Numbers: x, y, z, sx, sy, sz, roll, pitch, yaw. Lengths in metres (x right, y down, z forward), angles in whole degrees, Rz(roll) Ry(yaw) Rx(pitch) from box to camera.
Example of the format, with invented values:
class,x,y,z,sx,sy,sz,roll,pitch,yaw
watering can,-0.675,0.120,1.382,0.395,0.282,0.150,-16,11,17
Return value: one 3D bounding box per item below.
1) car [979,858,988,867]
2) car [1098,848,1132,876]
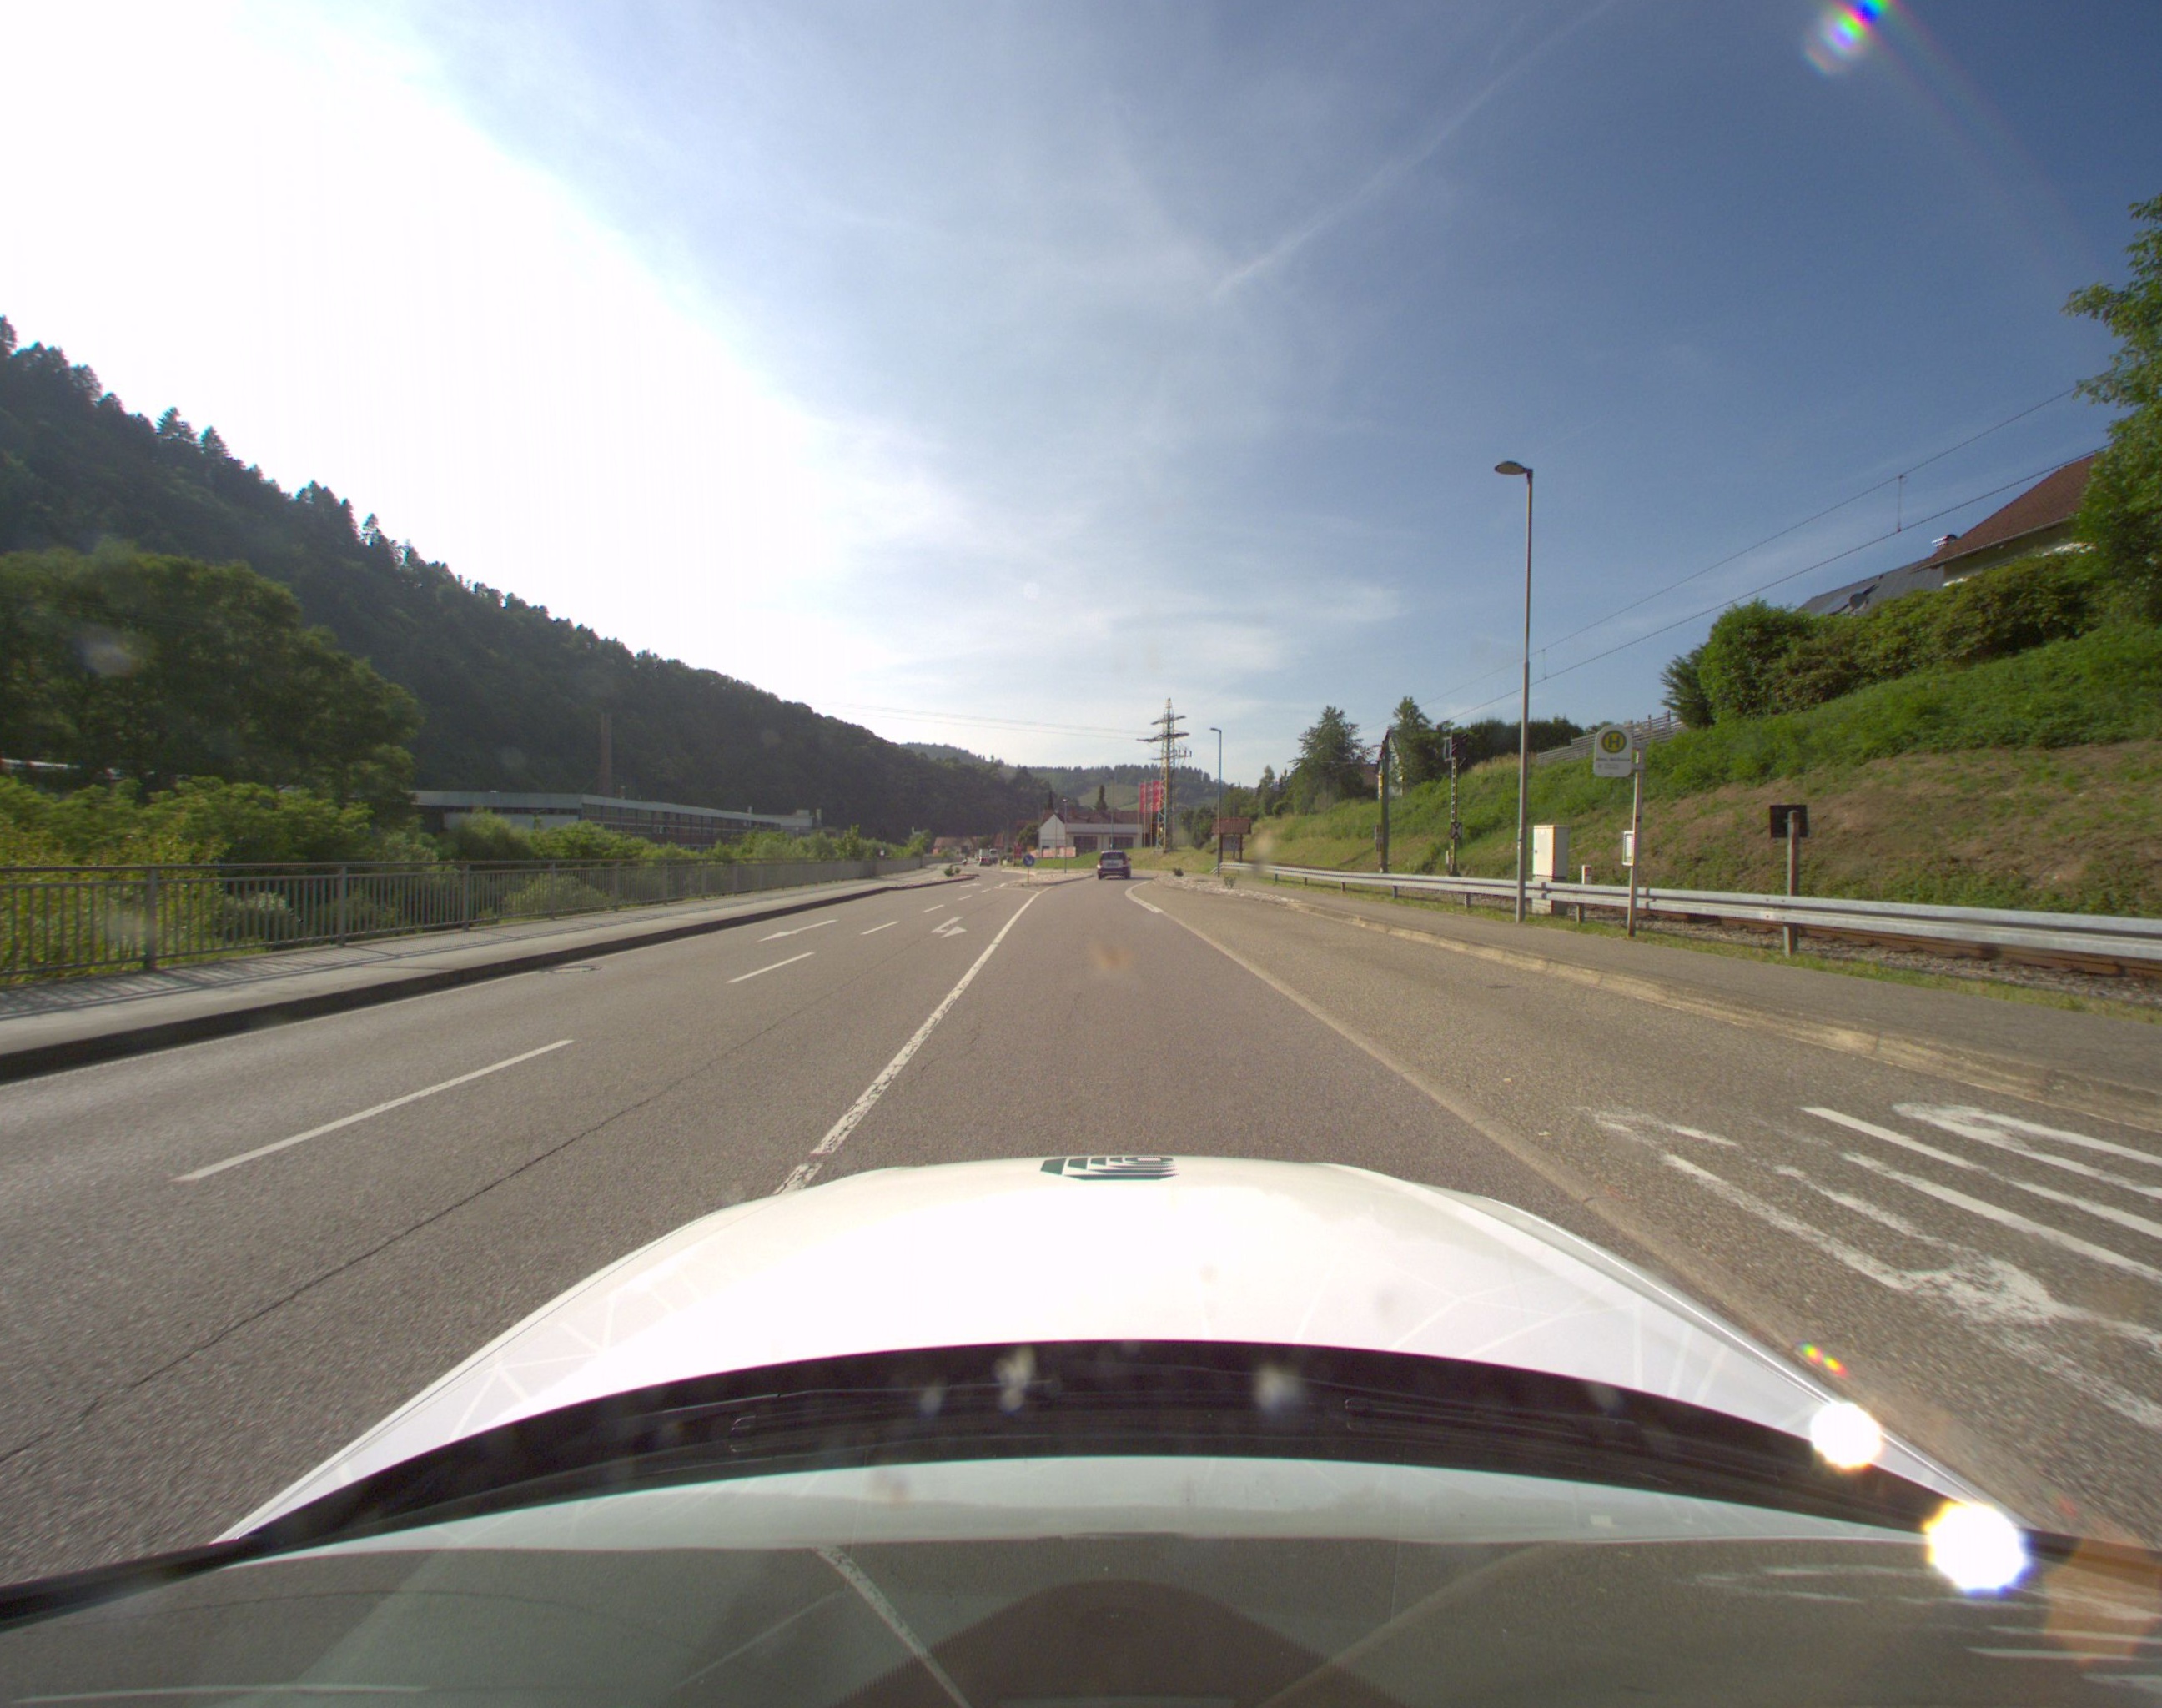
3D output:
class,x,y,z,sx,sy,sz,roll,pitch,yaw
car,-17.060,1.454,142.379,1.452,1.435,2.928,1,0,-8
car,1.939,0.497,47.922,1.854,1.544,4.373,1,-1,0
